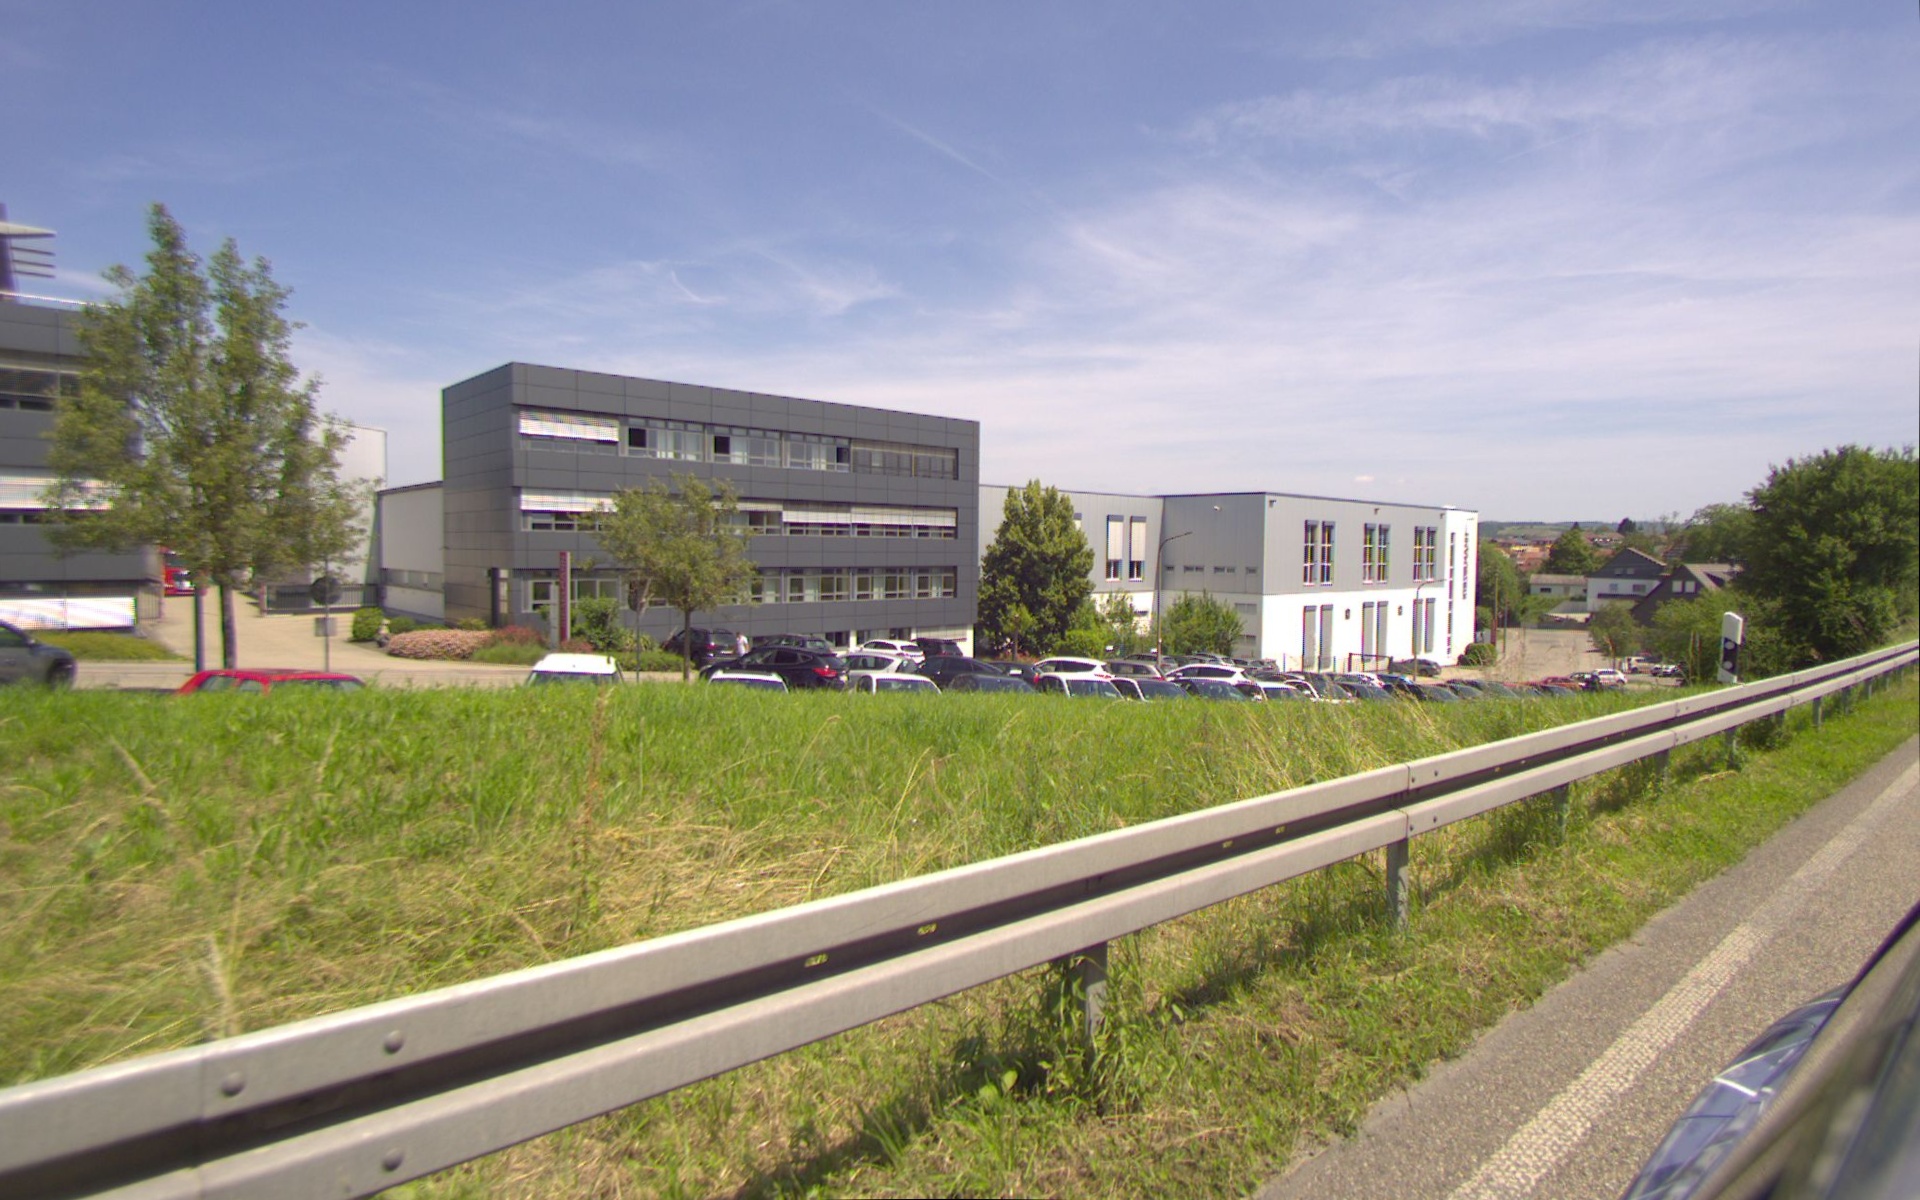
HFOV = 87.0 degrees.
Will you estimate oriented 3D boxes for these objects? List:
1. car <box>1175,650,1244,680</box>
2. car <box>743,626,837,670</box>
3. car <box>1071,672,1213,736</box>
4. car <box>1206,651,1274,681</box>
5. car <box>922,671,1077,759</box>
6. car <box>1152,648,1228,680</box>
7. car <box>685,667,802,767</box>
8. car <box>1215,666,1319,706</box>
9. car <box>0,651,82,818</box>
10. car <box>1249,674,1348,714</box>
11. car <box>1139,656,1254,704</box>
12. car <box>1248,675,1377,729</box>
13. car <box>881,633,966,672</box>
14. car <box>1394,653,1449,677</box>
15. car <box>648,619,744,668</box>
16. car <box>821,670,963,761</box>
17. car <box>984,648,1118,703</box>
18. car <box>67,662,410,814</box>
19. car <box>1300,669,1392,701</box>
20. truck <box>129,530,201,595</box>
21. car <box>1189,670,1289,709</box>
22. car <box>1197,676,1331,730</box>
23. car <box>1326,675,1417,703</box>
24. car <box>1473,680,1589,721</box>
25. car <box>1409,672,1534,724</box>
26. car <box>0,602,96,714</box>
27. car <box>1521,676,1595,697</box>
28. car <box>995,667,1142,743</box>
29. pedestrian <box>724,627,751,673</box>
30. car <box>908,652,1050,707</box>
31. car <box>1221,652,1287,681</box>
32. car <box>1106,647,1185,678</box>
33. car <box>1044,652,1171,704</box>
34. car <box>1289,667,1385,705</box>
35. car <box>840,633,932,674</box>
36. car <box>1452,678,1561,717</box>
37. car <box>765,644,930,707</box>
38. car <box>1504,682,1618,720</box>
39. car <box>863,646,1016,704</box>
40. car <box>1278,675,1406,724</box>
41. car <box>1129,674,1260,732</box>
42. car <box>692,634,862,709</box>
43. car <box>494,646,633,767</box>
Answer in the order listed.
[{"bbox_3d":[16.678,4.318,67.704,1.880,1.591,4.042,3,1,-44],"label":"car"},{"bbox_3d":[-7.710,2.140,45.629,4.573,1.592,1.791,3,0,44],"label":"car"},{"bbox_3d":[4.581,2.614,26.199,1.780,1.476,4.383,1,-4,-17],"label":"car"},{"bbox_3d":[19.084,4.451,69.094,1.880,1.591,4.042,3,1,-44],"label":"car"},{"bbox_3d":[0.680,2.299,21.153,1.848,1.580,4.383,1,-4,-17],"label":"car"},{"bbox_3d":[14.917,4.102,65.831,1.790,1.591,4.577,3,1,-44],"label":"car"},{"bbox_3d":[-3.984,2.035,18.602,1.848,1.580,4.382,0,-4,-12],"label":"car"},{"bbox_3d":[13.962,3.907,46.244,4.345,1.530,1.782,2,-3,13],"label":"car"},{"bbox_3d":[-12.002,1.415,10.683,4.309,1.708,1.880,-1,-4,12],"label":"car"},{"bbox_3d":[16.118,4.445,48.323,4.353,1.556,1.779,2,-3,18],"label":"car"},{"bbox_3d":[9.879,3.326,42.263,4.523,1.682,1.780,2,-3,16],"label":"car"},{"bbox_3d":[10.986,3.151,31.869,1.643,1.538,4.132,1,-4,-18],"label":"car"},{"bbox_3d":[-1.883,2.609,50.974,1.788,1.592,4.581,4,0,-40],"label":"car"},{"bbox_3d":[42.029,5.862,92.146,1.880,1.591,4.045,3,4,-44],"label":"car"},{"bbox_3d":[-10.909,1.764,41.590,1.789,1.668,4.578,4,0,-43],"label":"car"},{"bbox_3d":[-1.493,2.201,20.257,1.848,1.580,4.383,1,-4,-17],"label":"car"},{"bbox_3d":[3.282,2.675,36.338,4.523,1.682,1.810,2,-3,16],"label":"car"},{"bbox_3d":[-9.501,1.685,13.308,4.334,1.708,1.869,-2,-4,27],"label":"car"},{"bbox_3d":[20.183,4.459,53.101,4.351,1.626,1.779,-2,-4,18],"label":"car"},{"bbox_3d":[-59.155,-2.608,75.135,3.180,4.298,13.879,3,-2,-42],"label":"truck"},{"bbox_3d":[12.171,3.884,44.325,4.102,1.396,1.780,2,-3,16],"label":"car"},{"bbox_3d":[8.920,3.001,30.143,1.780,1.413,4.383,1,-4,-15],"label":"car"},{"bbox_3d":[22.246,4.821,54.860,4.351,1.464,1.779,-2,-4,18],"label":"car"},{"bbox_3d":[26.145,4.577,46.483,1.859,1.685,4.417,1,-4,-20],"label":"car"},{"bbox_3d":[21.774,4.145,43.324,2.035,2.040,4.732,1,-4,-16],"label":"car"},{"bbox_3d":[-16.332,0.940,16.336,1.782,1.649,4.596,4,0,-16],"label":"car"},{"bbox_3d":[44.373,6.405,75.142,4.351,1.464,1.779,-2,-4,18],"label":"car"},{"bbox_3d":[2.431,2.392,23.880,1.823,1.580,4.383,1,-4,-17],"label":"car"},{"bbox_3d":[-8.675,1.947,39.426,0.814,1.746,0.633,3,-5,-41],"label":"pedestrian"},{"bbox_3d":[0.676,2.679,34.572,4.523,1.533,1.810,2,-3,16],"label":"car"},{"bbox_3d":[20.662,4.678,71.179,1.880,1.591,4.042,3,1,-44],"label":"car"},{"bbox_3d":[11.441,3.854,62.690,1.790,1.592,4.576,3,-1,-44],"label":"car"},{"bbox_3d":[5.616,2.932,38.442,4.523,1.682,1.780,2,-3,16],"label":"car"},{"bbox_3d":[18.720,4.262,50.431,4.353,1.561,1.779,2,-3,18],"label":"car"},{"bbox_3d":[-3.617,2.552,48.882,4.573,1.592,1.791,3,0,44],"label":"car"},{"bbox_3d":[24.076,4.269,44.786,1.945,1.580,4.414,0,-4,-7],"label":"car"},{"bbox_3d":[-3.343,2.230,30.306,4.523,1.560,1.810,2,-3,16],"label":"car"},{"bbox_3d":[28.105,4.698,47.512,1.752,1.563,4.417,1,-4,-20],"label":"car"},{"bbox_3d":[-0.632,2.361,32.154,4.518,1.533,1.812,2,-3,13],"label":"car"},{"bbox_3d":[12.933,3.350,34.556,1.675,1.510,4.383,1,-4,-18],"label":"car"},{"bbox_3d":[6.588,2.872,28.970,1.780,1.476,4.383,1,-4,-15],"label":"car"},{"bbox_3d":[-5.029,1.935,27.945,4.184,1.650,1.810,4,-2,16],"label":"car"},{"bbox_3d":[-6.478,1.666,16.793,1.848,1.708,4.466,1,-4,-20],"label":"car"}]
